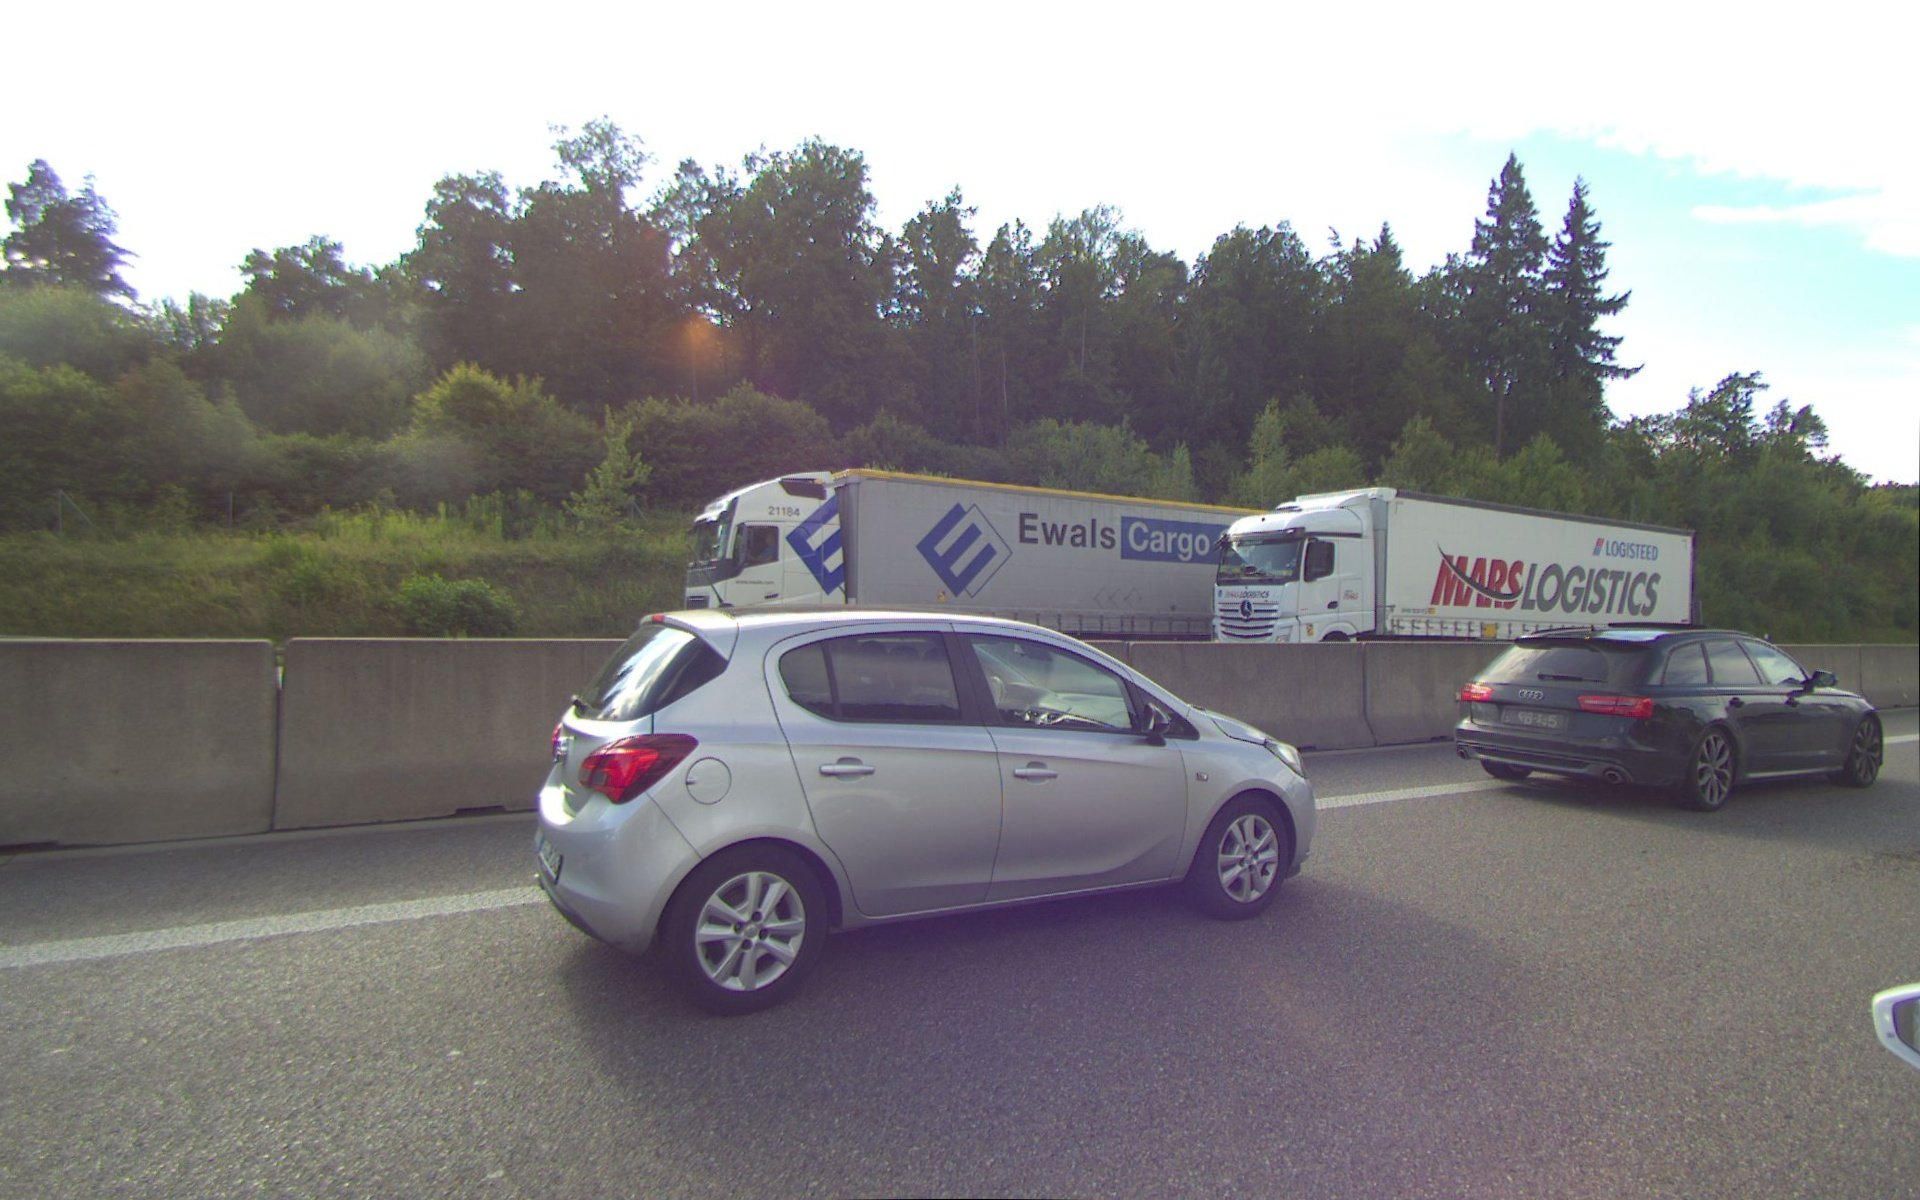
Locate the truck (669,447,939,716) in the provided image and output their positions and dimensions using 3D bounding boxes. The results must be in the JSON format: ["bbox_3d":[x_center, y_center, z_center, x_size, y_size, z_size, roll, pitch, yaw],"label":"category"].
[{"bbox_3d":[-3.253,-0.273,20.864,4.710,4.923,2.918,2,0,-30],"label":"truck"}]

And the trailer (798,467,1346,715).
[{"bbox_3d":[3.416,0.048,24.751,14.483,4.894,2.913,2,0,-31],"label":"trailer"}]

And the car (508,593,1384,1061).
[{"bbox_3d":[0.039,0.764,4.957,3.993,1.485,1.739,1,-1,-30],"label":"car"}]

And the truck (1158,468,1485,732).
[{"bbox_3d":[8.268,0.094,22.756,7.058,5.169,3.073,2,0,-30],"label":"truck"}]

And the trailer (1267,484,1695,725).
[{"bbox_3d":[14.062,0.296,26.209,13.675,5.141,3.073,2,0,-31],"label":"trailer"}]

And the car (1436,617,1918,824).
[{"bbox_3d":[6.744,0.948,9.325,4.691,1.475,1.834,1,0,-30],"label":"car"}]
